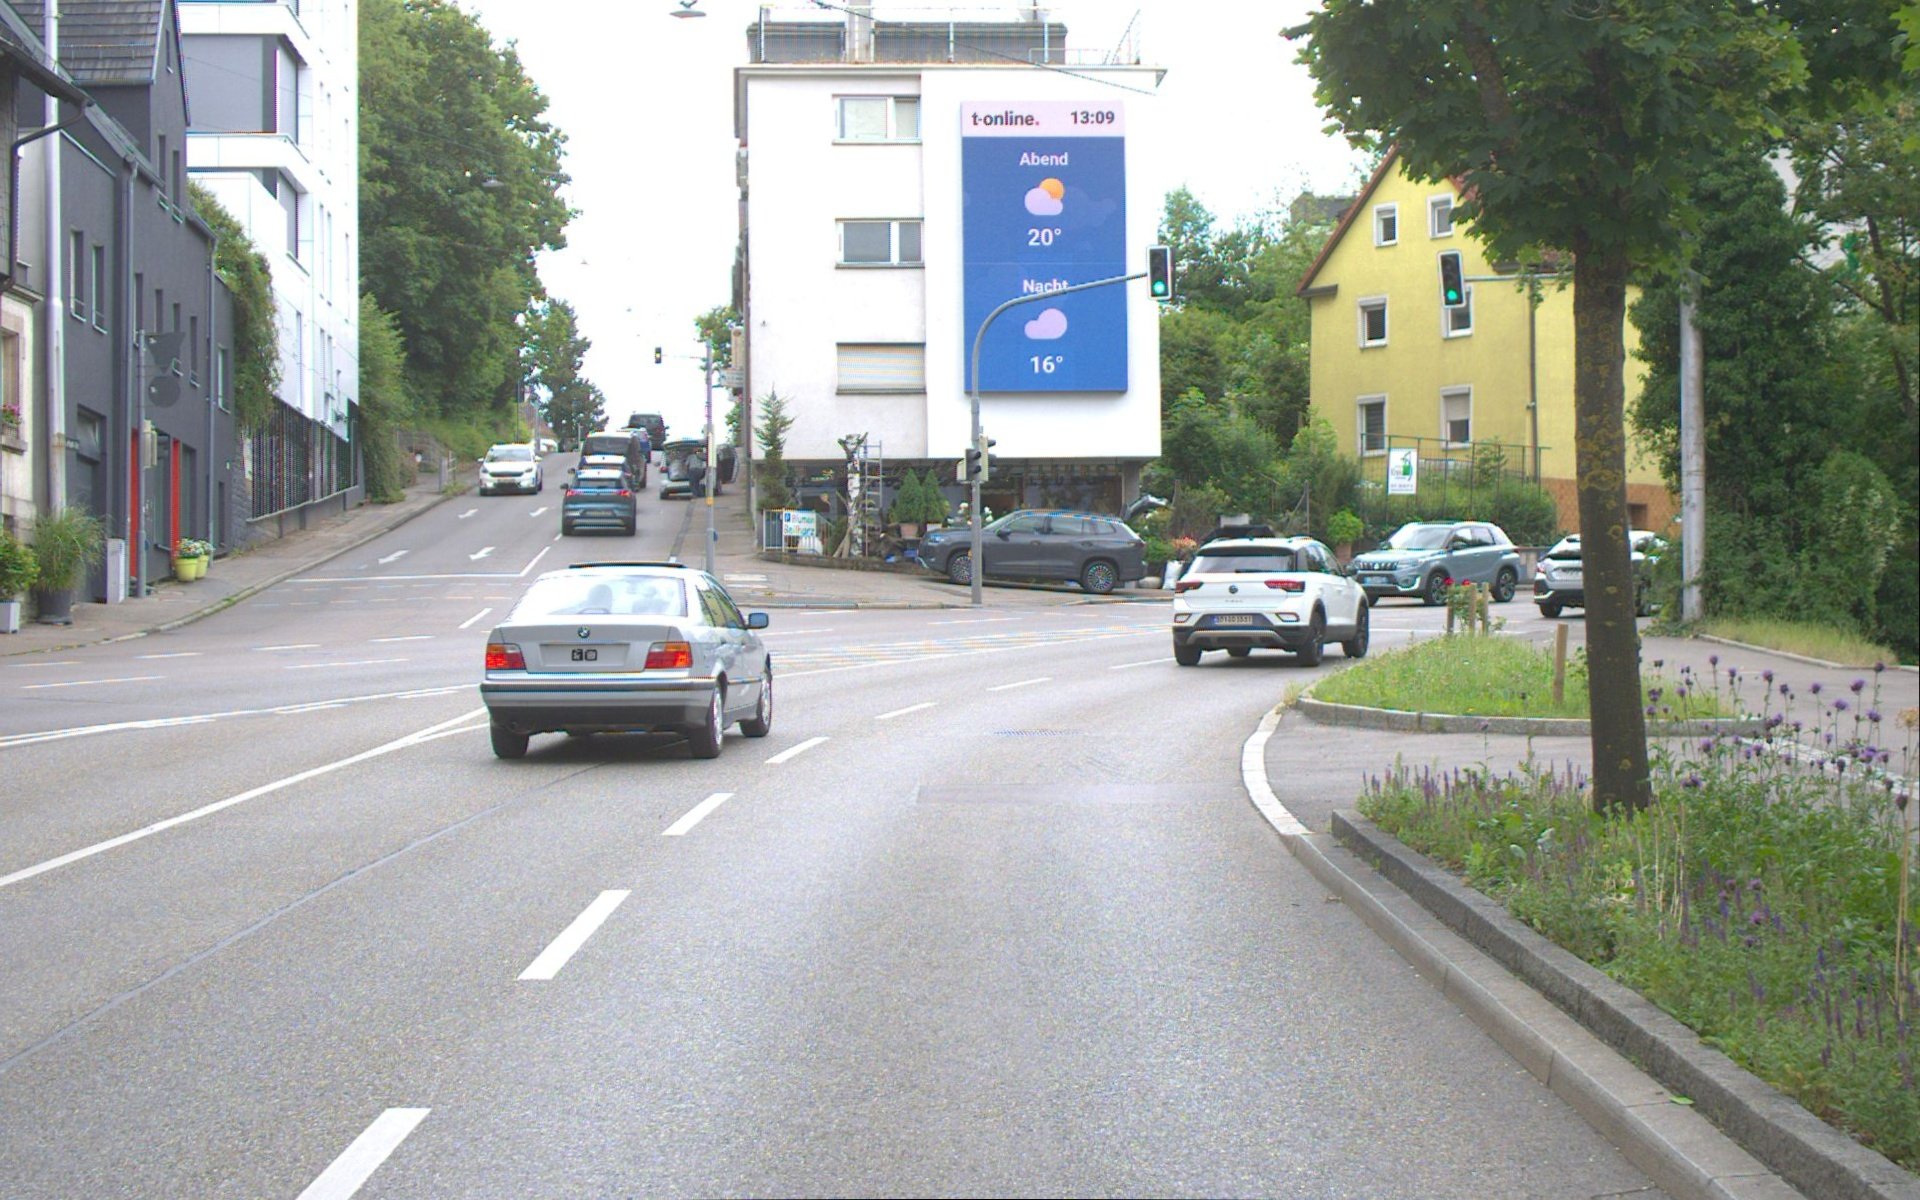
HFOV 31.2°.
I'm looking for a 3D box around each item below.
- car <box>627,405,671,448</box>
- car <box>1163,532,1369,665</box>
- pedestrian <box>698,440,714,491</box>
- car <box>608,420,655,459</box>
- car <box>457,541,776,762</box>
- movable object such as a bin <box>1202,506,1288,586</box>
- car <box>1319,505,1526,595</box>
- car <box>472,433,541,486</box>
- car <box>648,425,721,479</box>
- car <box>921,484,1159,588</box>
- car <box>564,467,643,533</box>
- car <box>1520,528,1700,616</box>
[{"bbox_3d":[-15.288,-8.534,169.196,1.993,2.007,4.001,1,1,-4],"label":"car"},{"bbox_3d":[3.881,-0.057,43.084,1.781,1.573,3.997,0,1,17],"label":"car"},{"bbox_3d":[-7.722,-4.096,104.652,0.458,1.524,0.527,0,0,-2],"label":"pedestrian"},{"bbox_3d":[-13.594,-6.631,142.323,1.779,1.573,4.001,0,2,-3],"label":"car"},{"bbox_3d":[-2.469,0.316,25.596,1.706,1.459,4.000,1,2,4],"label":"car"},{"bbox_3d":[6.399,-1.219,77.141,1.763,1.773,1.854,0,1,10],"label":"movable object such as a bin"},{"bbox_3d":[9.015,-0.979,66.760,1.900,1.689,4.337,0,1,41],"label":"car"},{"bbox_3d":[-14.382,-4.484,109.215,1.882,1.562,4.391,-1,4,-4],"label":"car"},{"bbox_3d":[-8.504,-4.555,106.329,2.089,1.607,4.001,0,1,-2],"label":"car"},{"bbox_3d":[1.632,-1.344,71.625,4.687,1.706,2.319,4,4,-3],"label":"car"},{"bbox_3d":[-8.827,-2.474,85.402,1.779,1.573,4.001,1,2,-3],"label":"car"},{"bbox_3d":[10.981,-0.499,57.922,1.783,1.405,3.994,1,2,29],"label":"car"}]
